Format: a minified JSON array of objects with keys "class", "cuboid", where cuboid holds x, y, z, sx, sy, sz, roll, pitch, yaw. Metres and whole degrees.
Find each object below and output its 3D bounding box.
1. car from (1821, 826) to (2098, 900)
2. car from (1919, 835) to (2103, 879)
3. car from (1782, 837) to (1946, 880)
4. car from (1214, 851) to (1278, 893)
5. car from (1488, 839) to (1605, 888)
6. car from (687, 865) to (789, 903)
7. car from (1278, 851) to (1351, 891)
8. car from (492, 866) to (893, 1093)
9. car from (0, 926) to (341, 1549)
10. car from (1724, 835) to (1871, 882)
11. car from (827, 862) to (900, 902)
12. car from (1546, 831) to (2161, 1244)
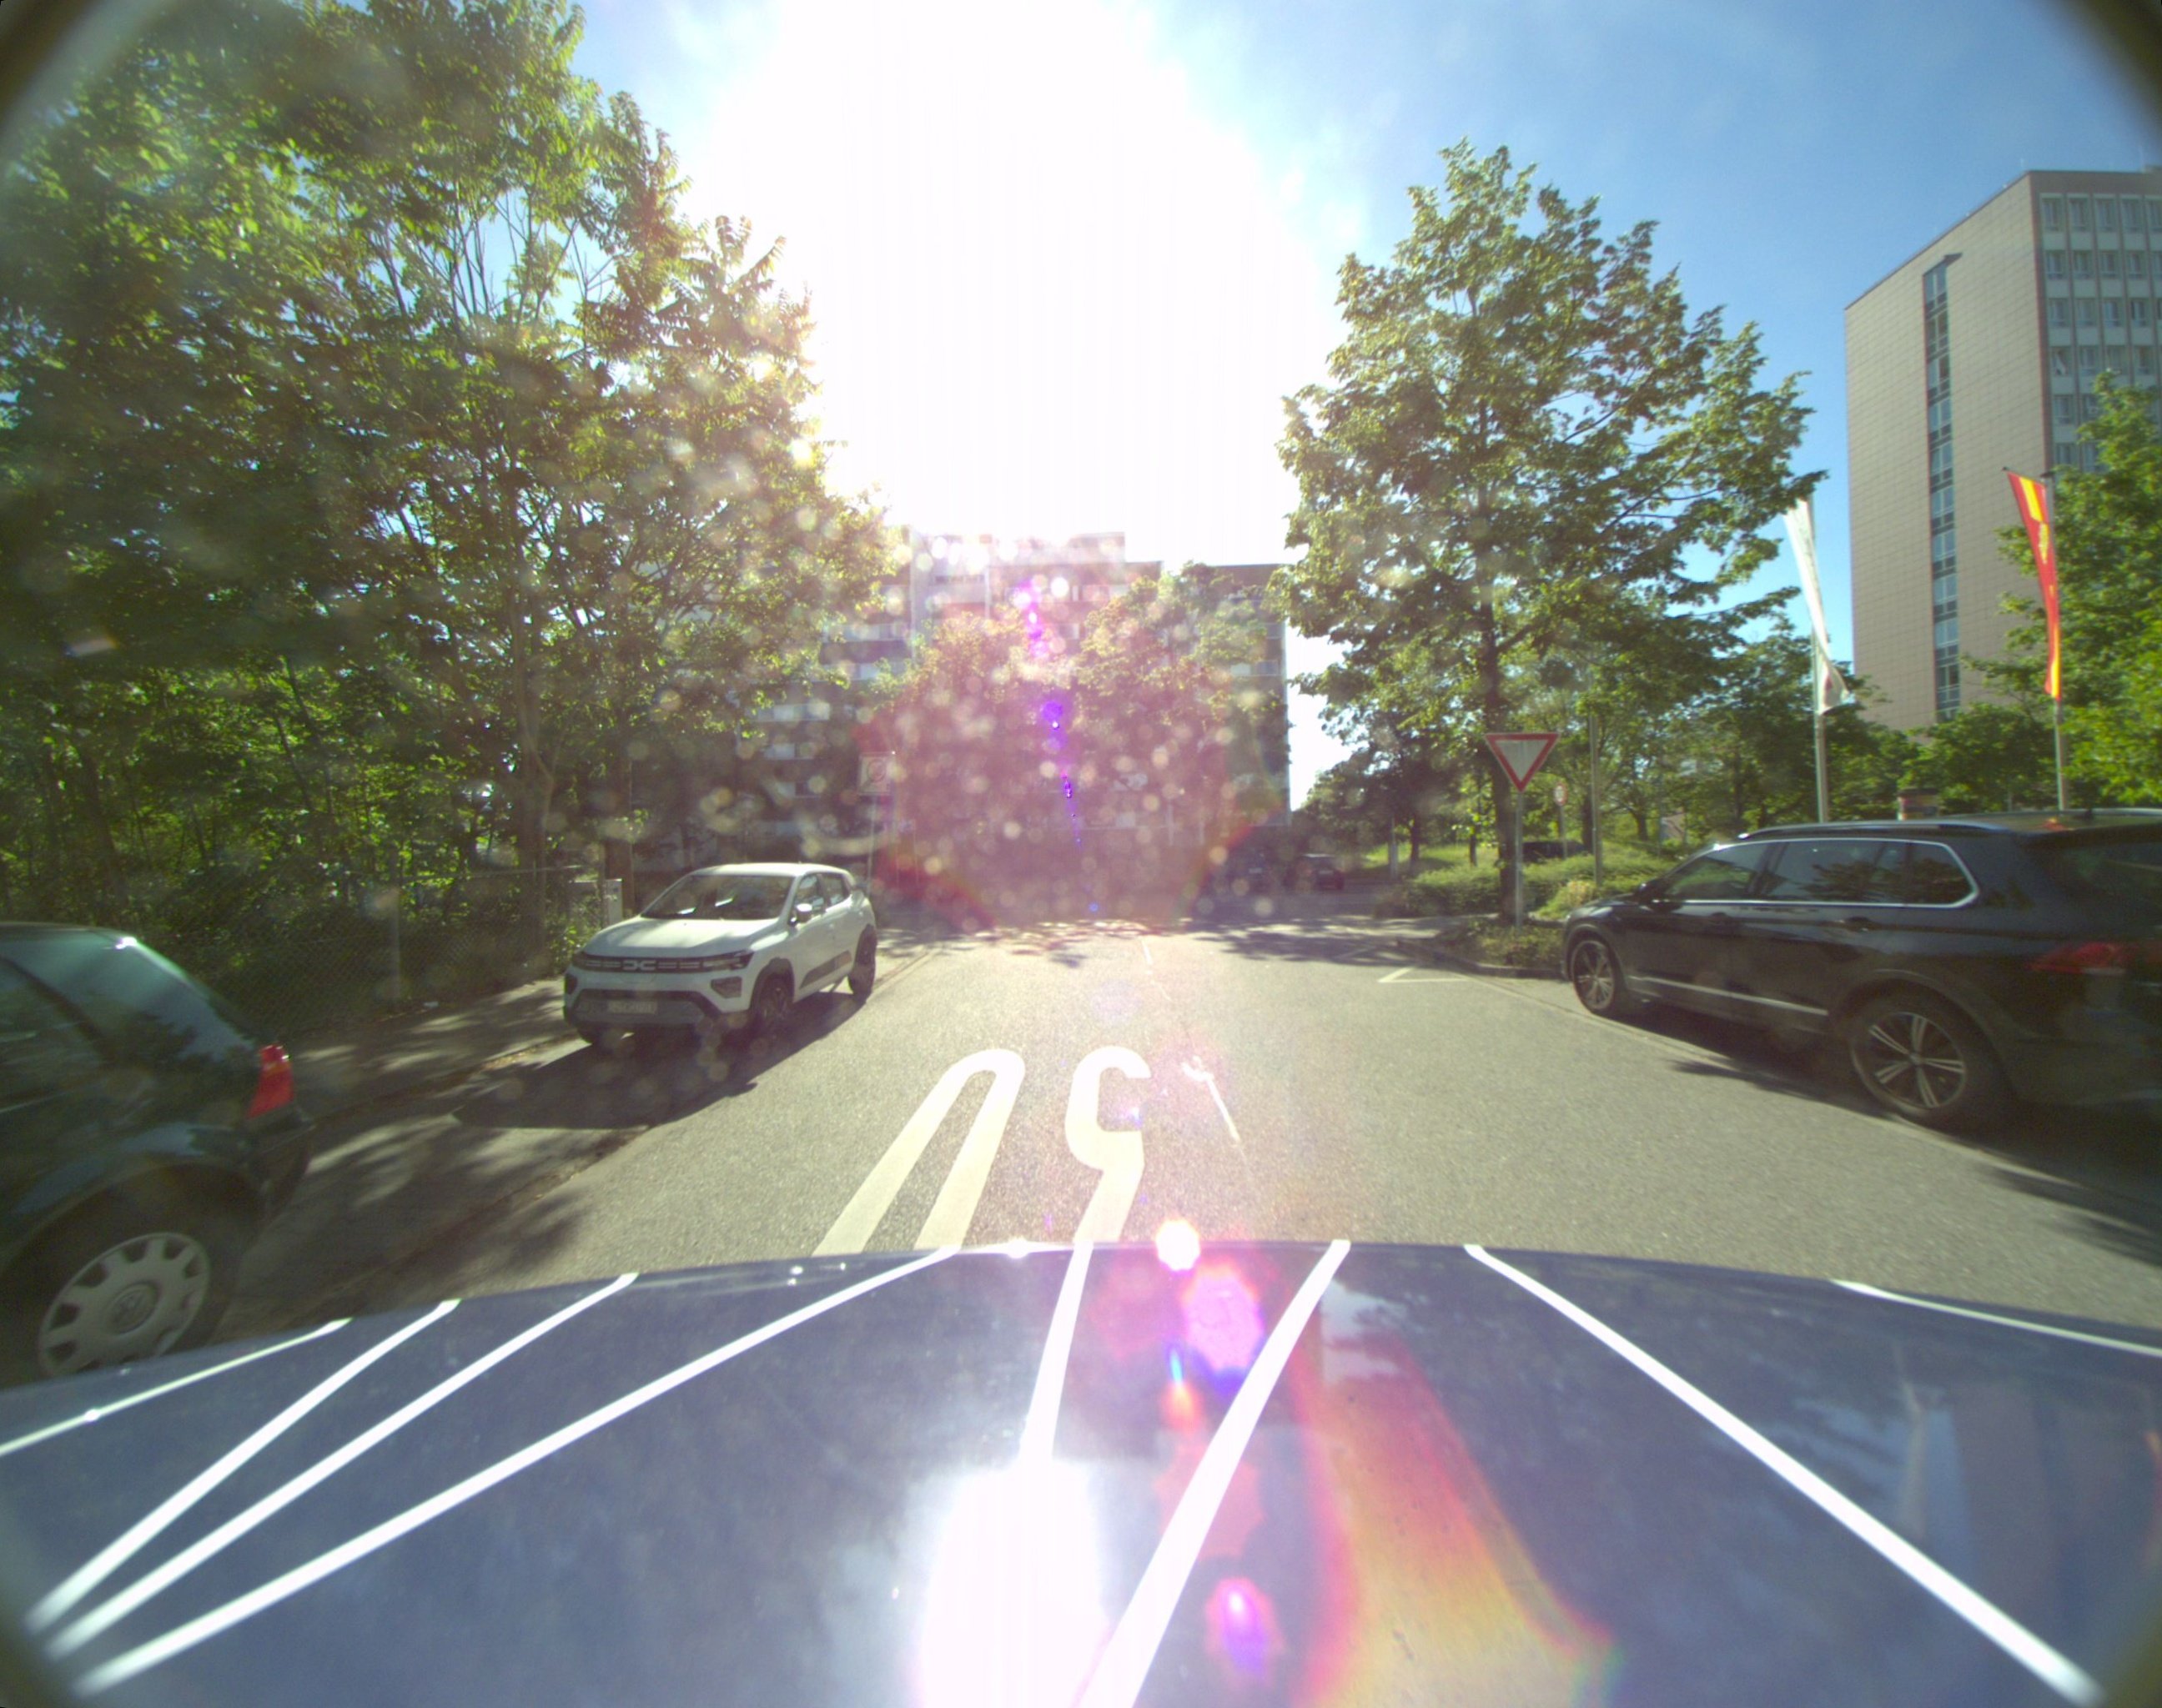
[{"class":"car","cuboid":[20.507,0.242,18.078,1.770,1.511,4.208,-2,-1,2]},{"class":"car","cuboid":[36.849,0.057,30.317,1.835,1.584,4.439,-2,1,-1]},{"class":"car","cuboid":[30.771,0.222,30.086,1.816,1.535,4.457,-2,-1,-1]},{"class":"car","cuboid":[6.670,0.666,31.104,1.700,1.490,3.819,-2,2,-2]},{"class":"car","cuboid":[18.614,0.319,30.646,1.998,1.769,4.601,-2,1,2]},{"class":"car","cuboid":[-13.839,1.170,30.995,1.825,1.419,4.291,-2,-1,6]},{"class":"car","cuboid":[9.450,0.643,31.063,1.821,1.379,3.999,-1,2,2]},{"class":"car","cuboid":[-3.283,0.941,7.466,1.623,1.442,4.090,-2,1,3]},{"class":"car","cuboid":[-3.654,1.029,0.708,1.829,1.463,4.069,-2,0,2]},{"class":"car","cuboid":[27.506,0.116,29.375,1.732,1.609,4.130,-2,1,0]},{"class":"car","cuboid":[-8.938,1.110,31.581,1.715,1.443,4.000,-1,1,2]},{"class":"car","cuboid":[5.334,0.689,5.120,1.891,1.610,4.339,-2,1,3]}]
